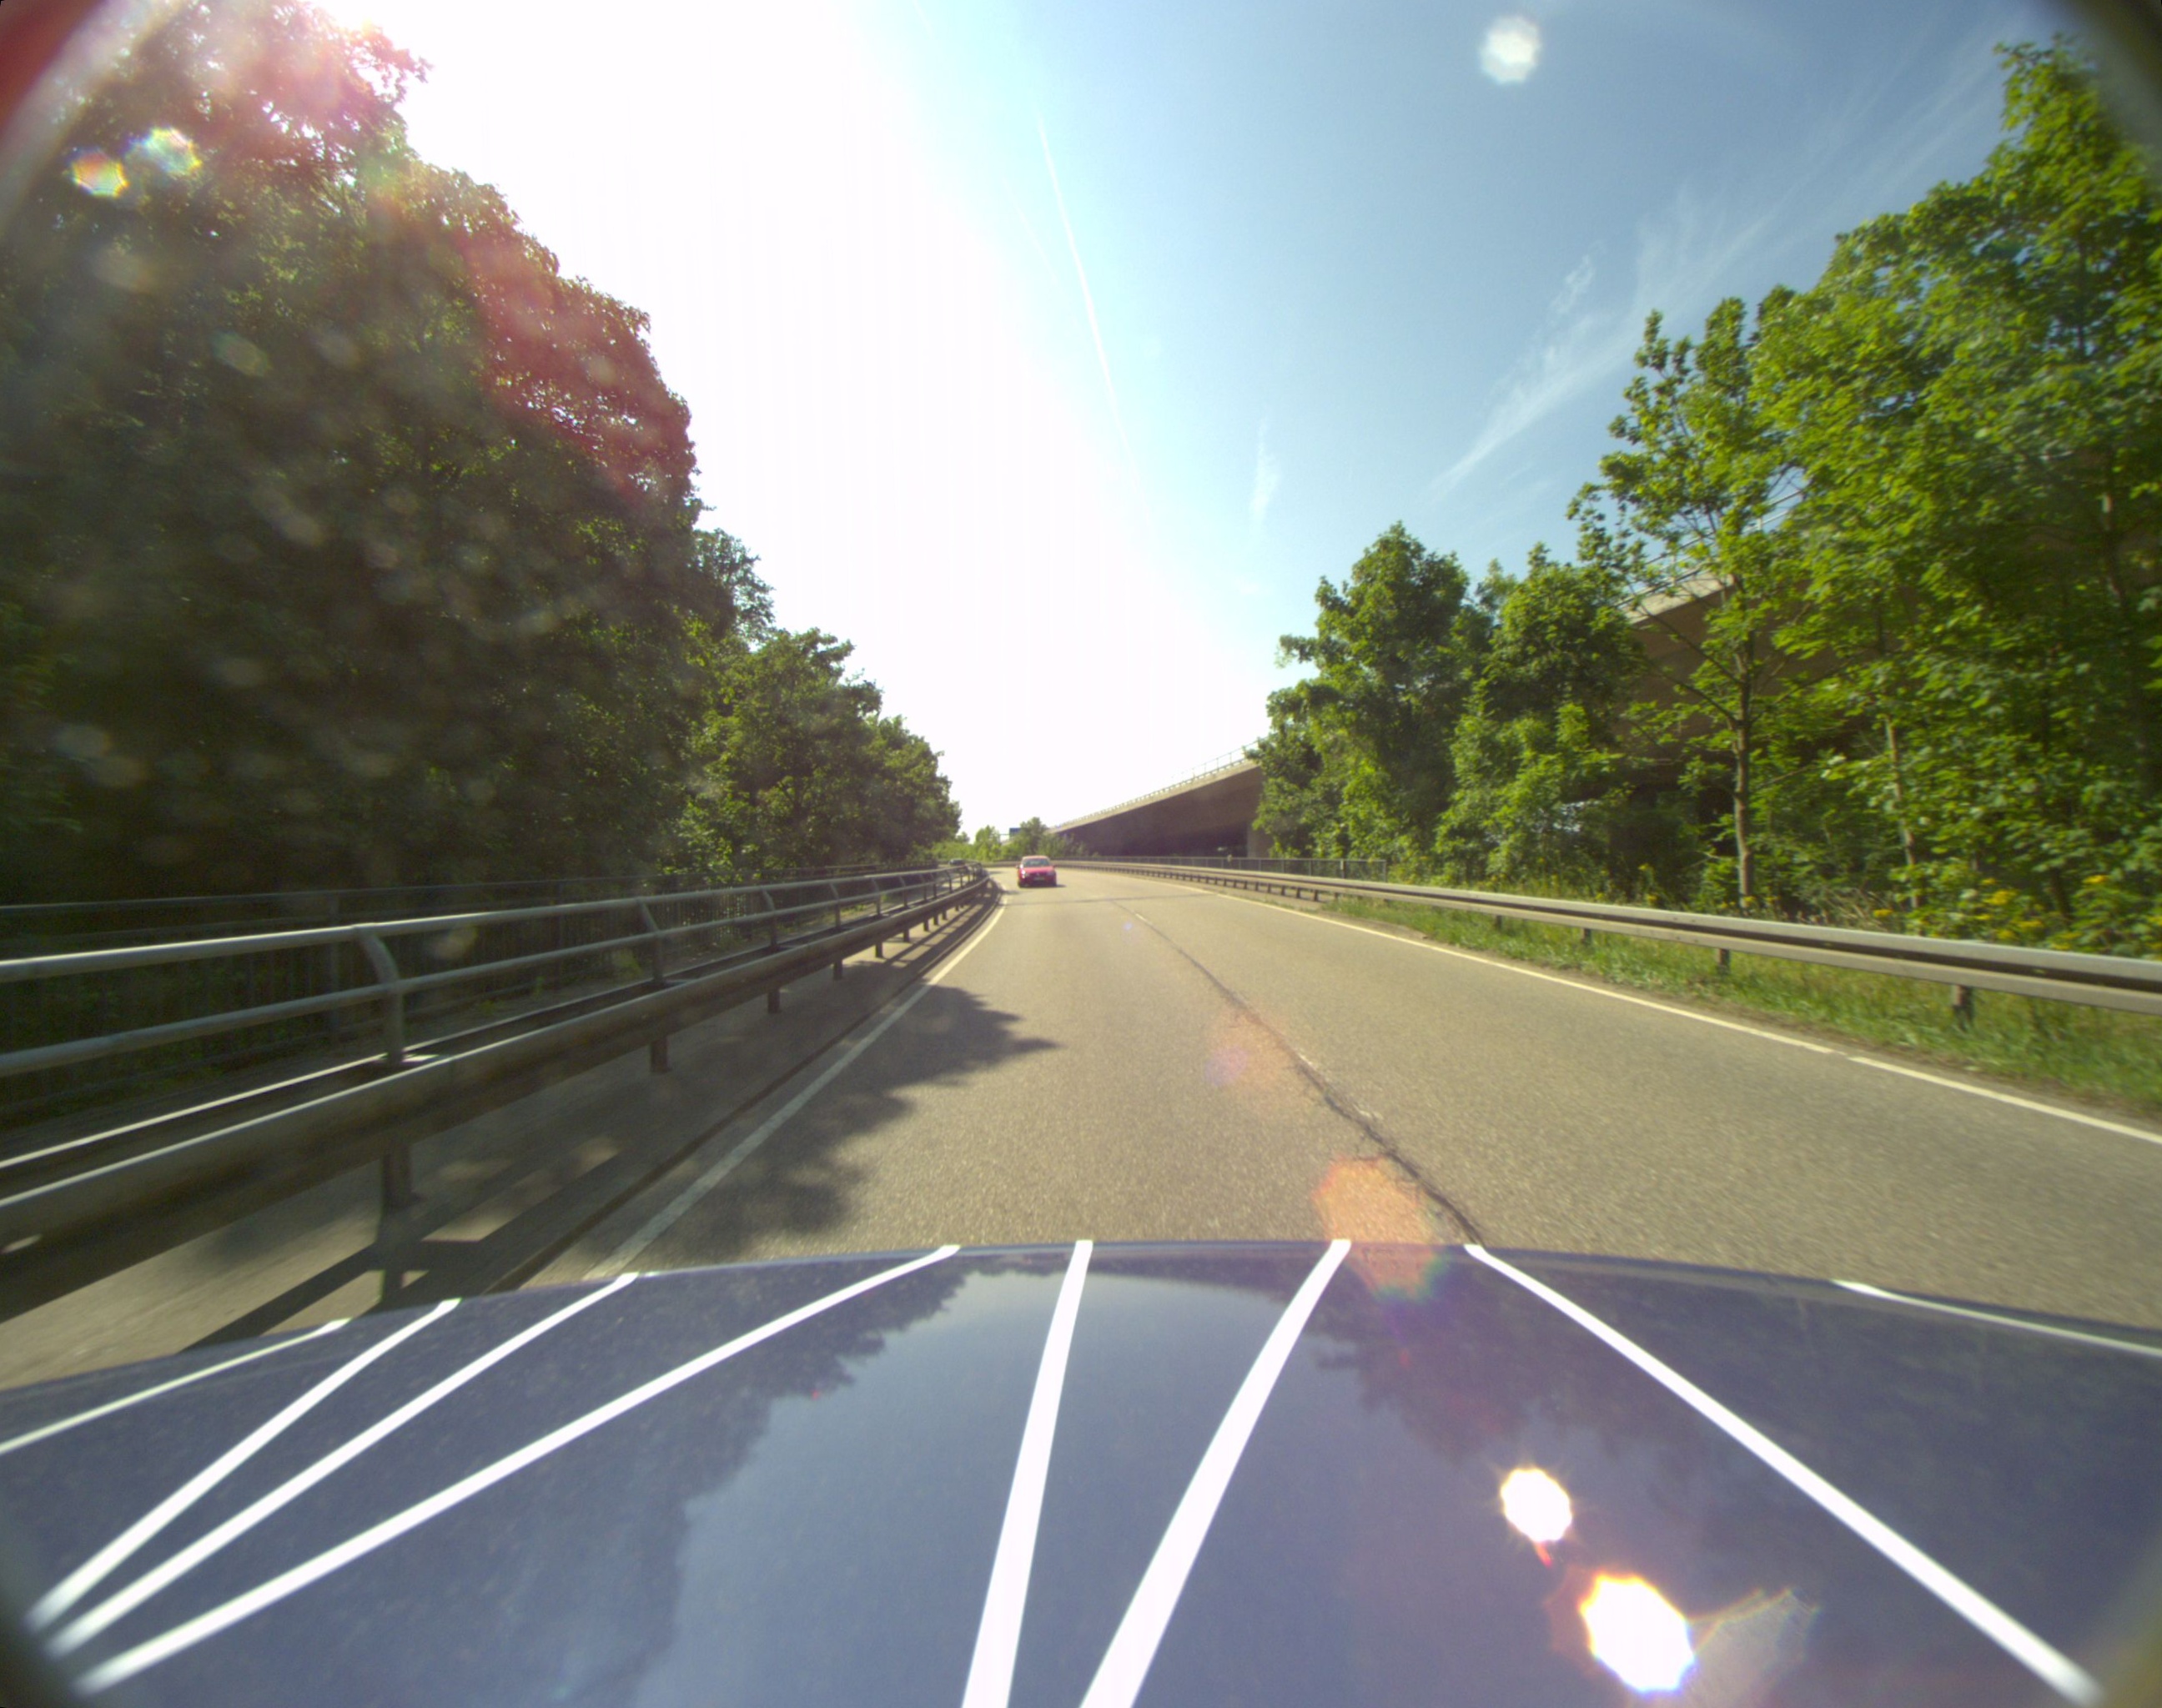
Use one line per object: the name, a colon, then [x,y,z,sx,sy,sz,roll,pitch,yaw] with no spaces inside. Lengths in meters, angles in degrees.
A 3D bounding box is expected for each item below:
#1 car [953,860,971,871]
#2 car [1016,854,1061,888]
car: [-17.987,1.726,114.375,1.906,1.572,4.547,-2,1,-18]
car: [-2.145,0.783,37.105,1.818,1.488,4.282,-1,0,-8]
